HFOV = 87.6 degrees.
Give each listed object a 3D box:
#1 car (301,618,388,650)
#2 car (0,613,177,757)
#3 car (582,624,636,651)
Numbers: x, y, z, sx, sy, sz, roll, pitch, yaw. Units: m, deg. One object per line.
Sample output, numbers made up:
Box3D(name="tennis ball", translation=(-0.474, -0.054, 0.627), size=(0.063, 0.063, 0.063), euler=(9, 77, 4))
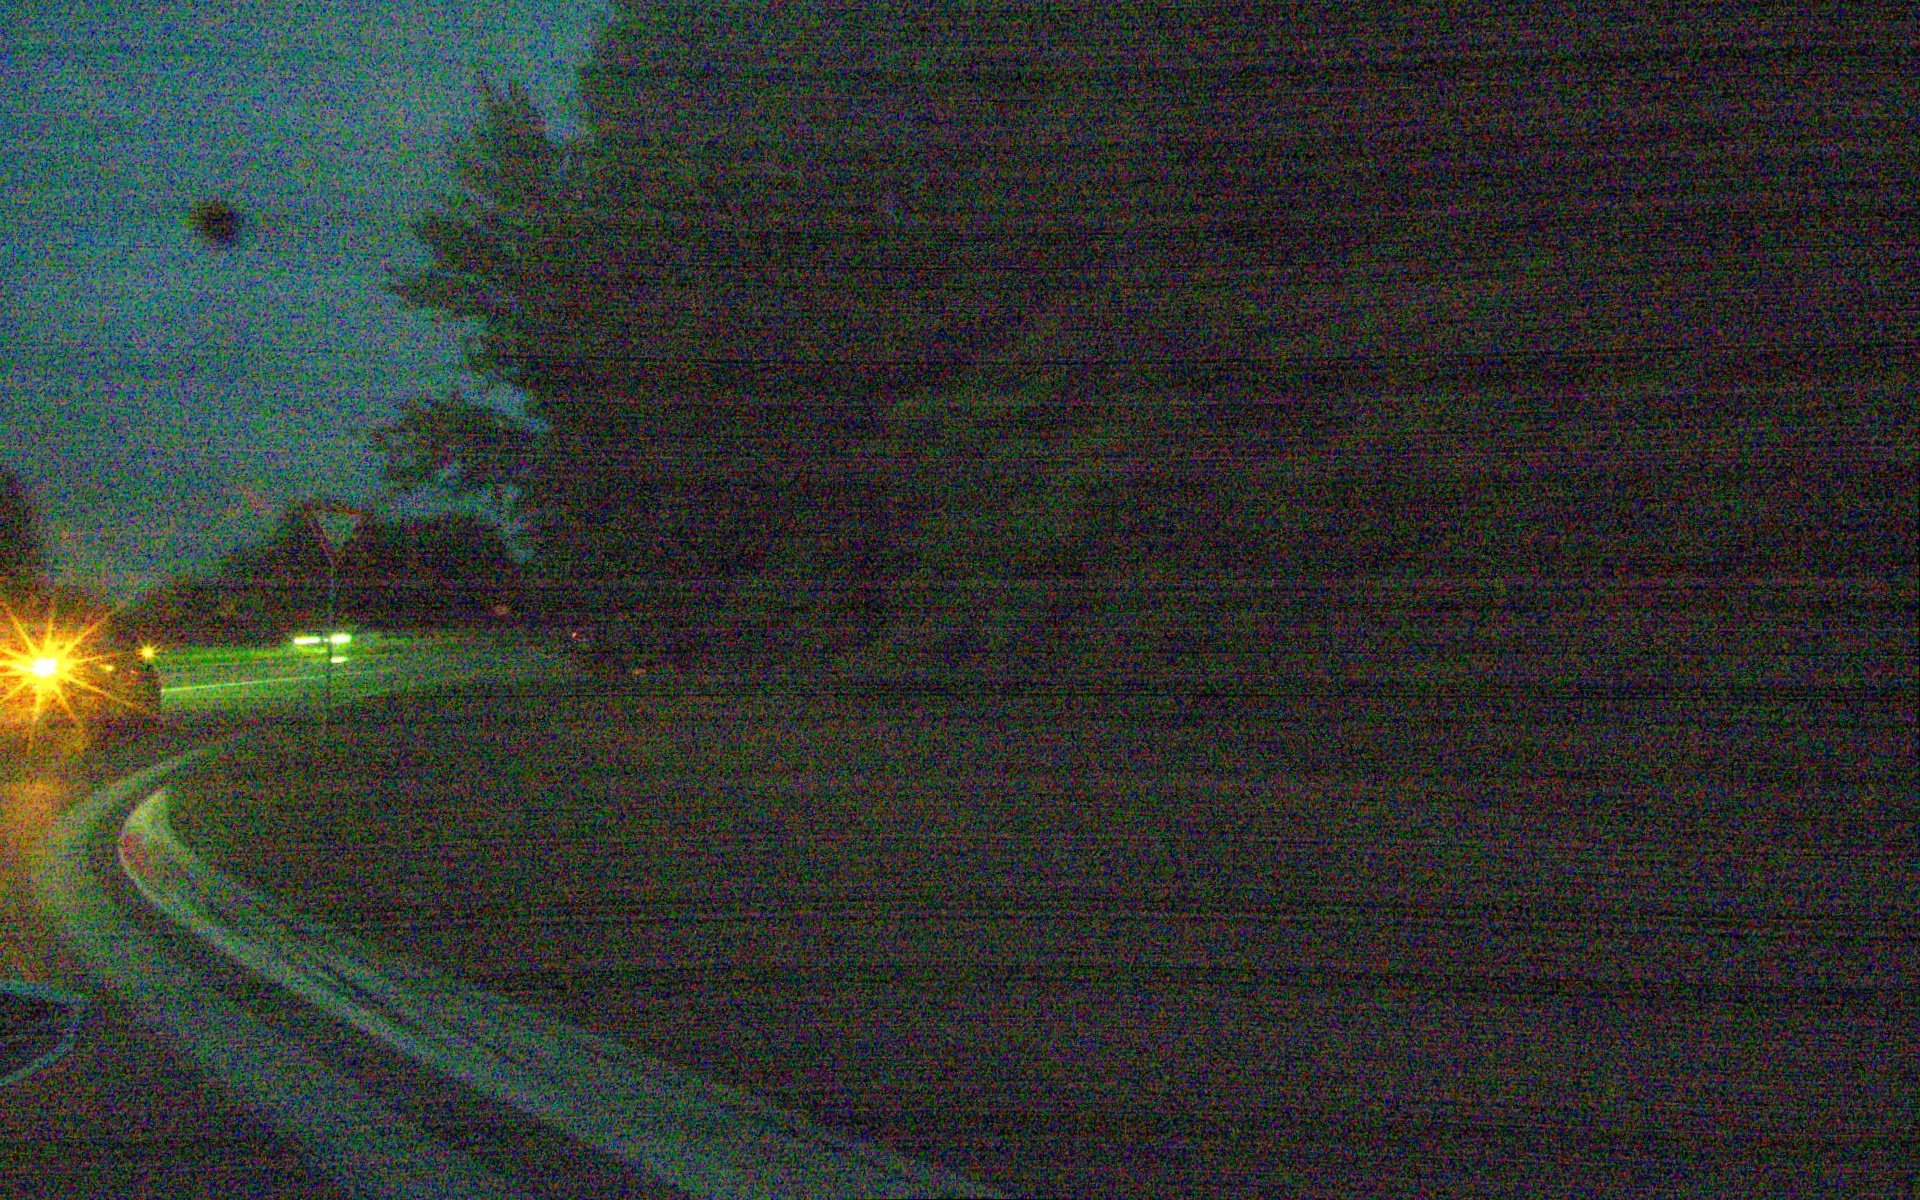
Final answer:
Box3D(name="car", translation=(-32.770, 1.816, 53.511), size=(1.961, 1.590, 4.823), euler=(-1, -1, -5))
Box3D(name="car", translation=(-12.332, 1.026, 13.523), size=(1.879, 1.640, 4.536), euler=(2, -2, -27))
Box3D(name="car", translation=(-20.129, 2.144, 57.557), size=(1.724, 1.471, 4.434), euler=(0, -2, -2))
